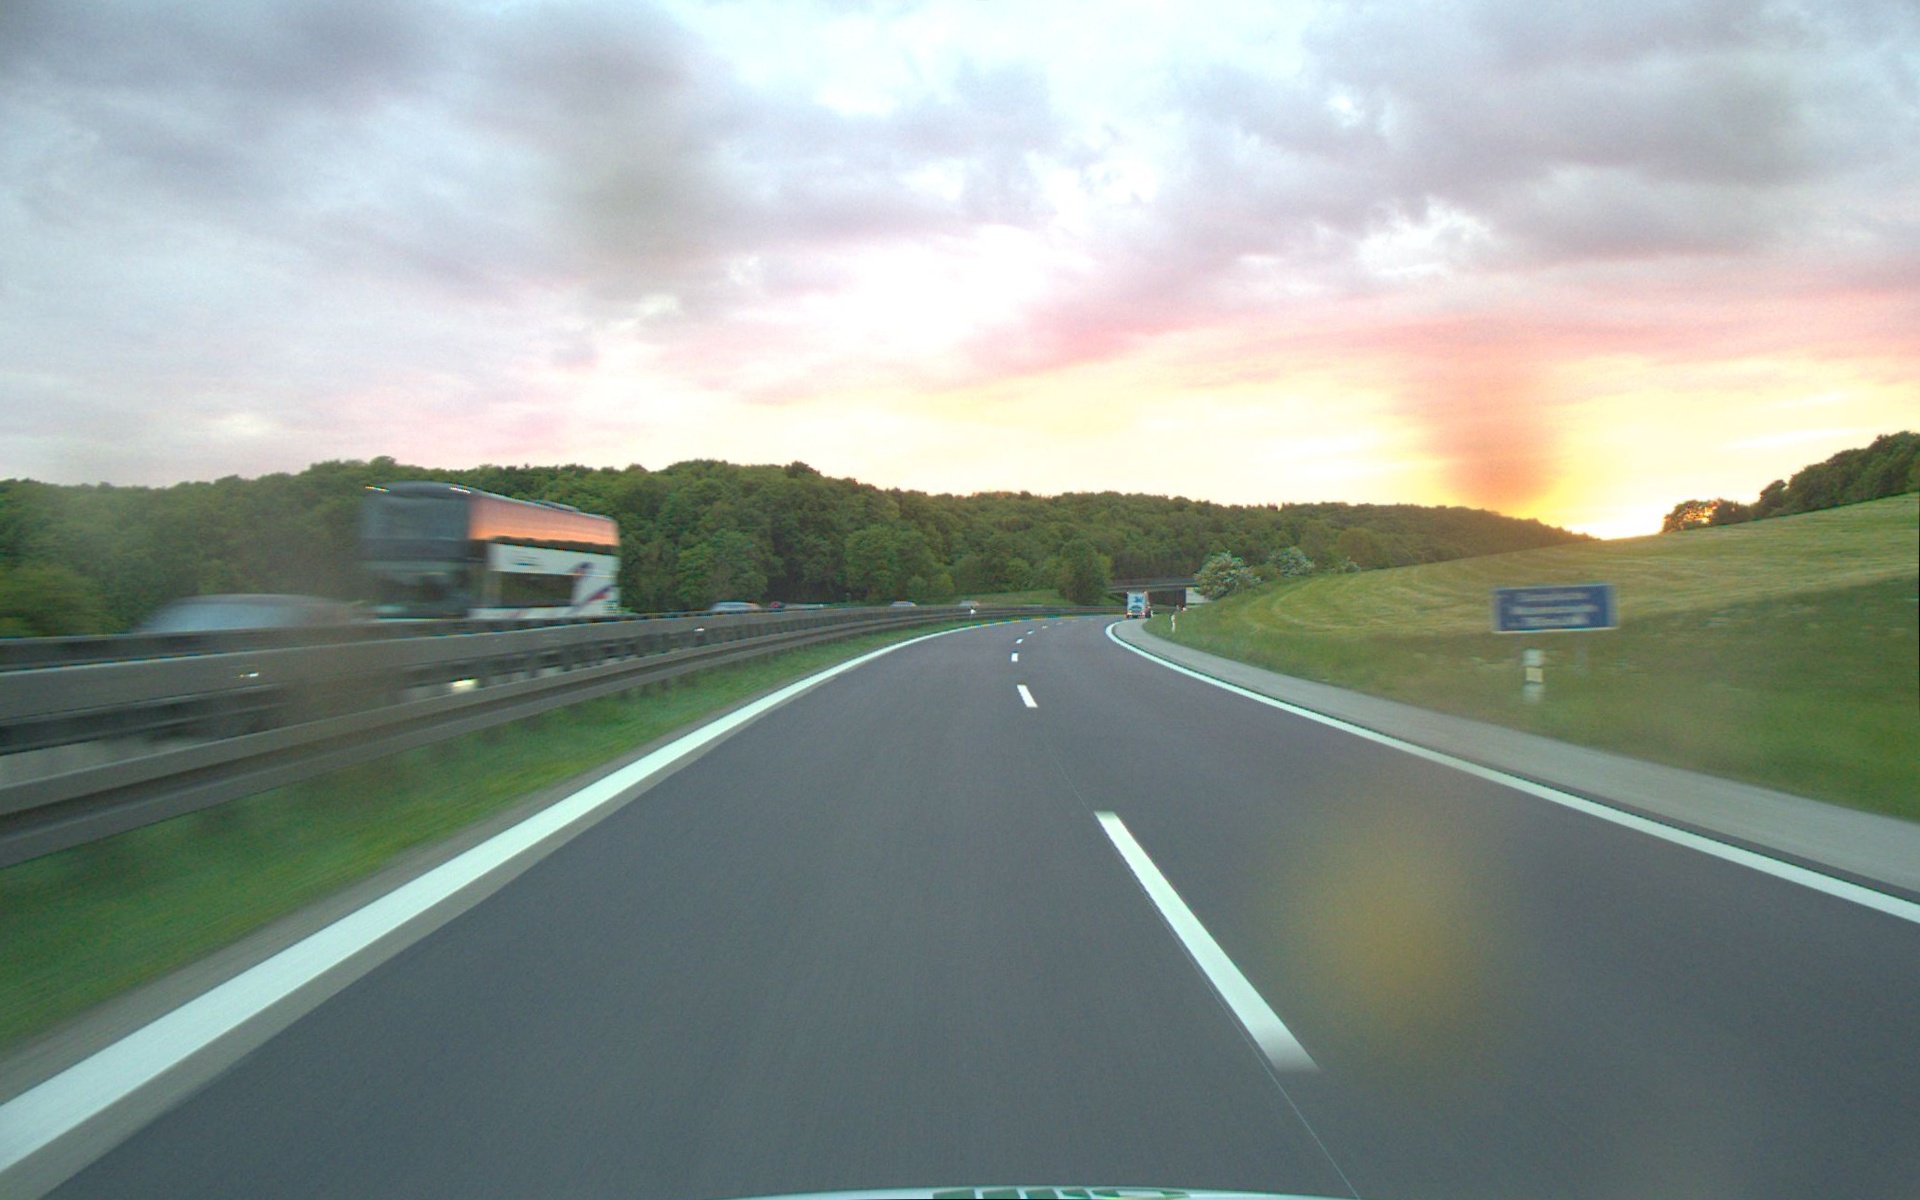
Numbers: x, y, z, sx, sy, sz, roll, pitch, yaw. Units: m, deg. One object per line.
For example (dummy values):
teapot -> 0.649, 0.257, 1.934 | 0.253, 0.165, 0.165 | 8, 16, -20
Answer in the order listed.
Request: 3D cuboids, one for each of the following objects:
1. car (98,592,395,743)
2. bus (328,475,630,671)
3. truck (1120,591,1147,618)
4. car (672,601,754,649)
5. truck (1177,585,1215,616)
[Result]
car -> -8.452, 0.724, 20.055 | 1.598, 1.582, 4.470 | 2, 0, 0
bus -> -11.791, -0.515, 42.893 | 3.100, 4.147, 14.812 | 1, 0, 1
truck -> 18.328, 0.490, 174.079 | 2.227, 2.711, 5.240 | -2, 0, 12
car -> -8.167, 0.802, 54.997 | 1.812, 1.501, 4.169 | -1, 0, 4
truck -> 34.847, 0.189, 243.947 | 3.874, 4.362, 14.333 | 0, -1, 15
